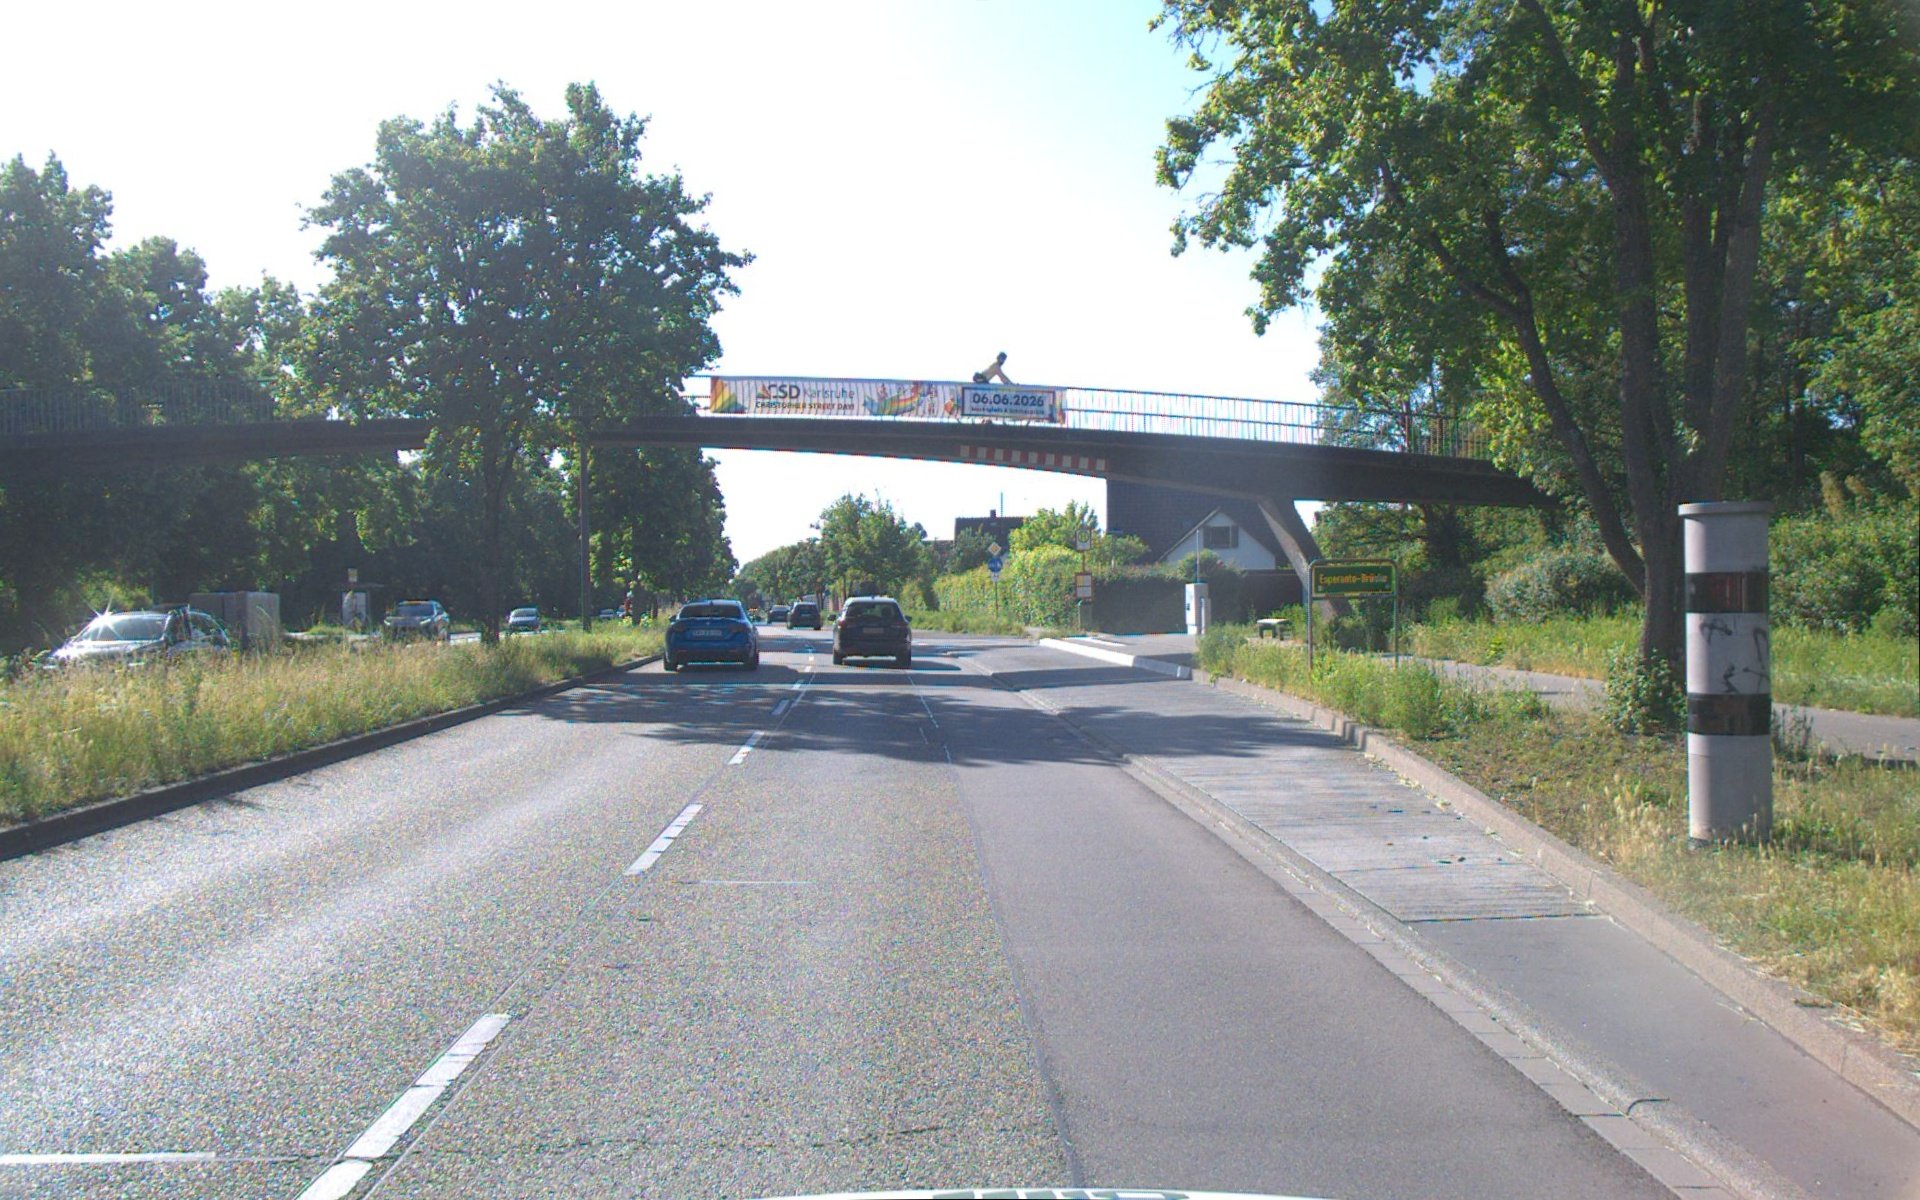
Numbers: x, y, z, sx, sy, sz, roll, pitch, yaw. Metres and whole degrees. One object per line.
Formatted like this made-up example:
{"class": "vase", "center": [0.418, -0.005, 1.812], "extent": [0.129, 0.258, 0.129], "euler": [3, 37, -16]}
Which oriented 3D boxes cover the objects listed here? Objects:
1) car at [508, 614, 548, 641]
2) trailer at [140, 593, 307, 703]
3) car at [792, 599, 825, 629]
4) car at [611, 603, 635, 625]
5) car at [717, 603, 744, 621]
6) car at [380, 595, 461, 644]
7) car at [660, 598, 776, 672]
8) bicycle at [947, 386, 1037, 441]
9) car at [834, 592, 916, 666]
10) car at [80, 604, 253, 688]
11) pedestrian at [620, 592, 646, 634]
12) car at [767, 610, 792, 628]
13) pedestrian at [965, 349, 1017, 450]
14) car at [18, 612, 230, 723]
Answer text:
{"class": "car", "center": [-25.074, 1.600, 96.087], "extent": [1.510, 1.456, 4.251], "euler": [-2, 0, -6]}
{"class": "trailer", "center": [-14.088, 0.851, 31.895], "extent": [1.531, 1.943, 4.279], "euler": [-1, 0, -4]}
{"class": "car", "center": [-8.544, 0.749, 92.837], "extent": [1.711, 1.625, 4.168], "euler": [0, 0, -7]}
{"class": "car", "center": [-27.437, 1.124, 134.715], "extent": [1.698, 1.660, 4.189], "euler": [-2, 0, -9]}
{"class": "car", "center": [-20.029, 1.007, 144.246], "extent": [1.944, 1.465, 3.988], "euler": [-1, 0, -12]}
{"class": "car", "center": [-19.924, 0.696, 61.304], "extent": [1.698, 1.675, 4.896], "euler": [-2, 0, -5]}
{"class": "car", "center": [-4.999, 0.685, 34.701], "extent": [1.954, 1.429, 3.999], "euler": [-1, 0, -2]}
{"class": "bicycle", "center": [0.726, -4.209, 37.369], "extent": [1.950, 1.127, 0.727], "euler": [1, 0, -6]}
{"class": "car", "center": [-1.987, 0.659, 37.718], "extent": [1.726, 1.587, 3.995], "euler": [1, -1, -5]}
{"class": "car", "center": [-17.359, 0.959, 36.436], "extent": [1.819, 1.634, 4.365], "euler": [-2, 0, -3]}
{"class": "pedestrian", "center": [-13.379, 0.532, 67.642], "extent": [0.617, 1.726, 0.943], "euler": [-1, 0, 22]}
{"class": "car", "center": [-14.473, 1.493, 132.452], "extent": [1.863, 1.379, 3.992], "euler": [-1, 0, -8]}
{"class": "pedestrian", "center": [0.694, -4.518, 37.420], "extent": [1.045, 2.161, 0.996], "euler": [-1, 0, -6]}
{"class": "car", "center": [-13.897, 1.060, 27.745], "extent": [1.661, 1.610, 4.023], "euler": [-1, 1, -3]}
